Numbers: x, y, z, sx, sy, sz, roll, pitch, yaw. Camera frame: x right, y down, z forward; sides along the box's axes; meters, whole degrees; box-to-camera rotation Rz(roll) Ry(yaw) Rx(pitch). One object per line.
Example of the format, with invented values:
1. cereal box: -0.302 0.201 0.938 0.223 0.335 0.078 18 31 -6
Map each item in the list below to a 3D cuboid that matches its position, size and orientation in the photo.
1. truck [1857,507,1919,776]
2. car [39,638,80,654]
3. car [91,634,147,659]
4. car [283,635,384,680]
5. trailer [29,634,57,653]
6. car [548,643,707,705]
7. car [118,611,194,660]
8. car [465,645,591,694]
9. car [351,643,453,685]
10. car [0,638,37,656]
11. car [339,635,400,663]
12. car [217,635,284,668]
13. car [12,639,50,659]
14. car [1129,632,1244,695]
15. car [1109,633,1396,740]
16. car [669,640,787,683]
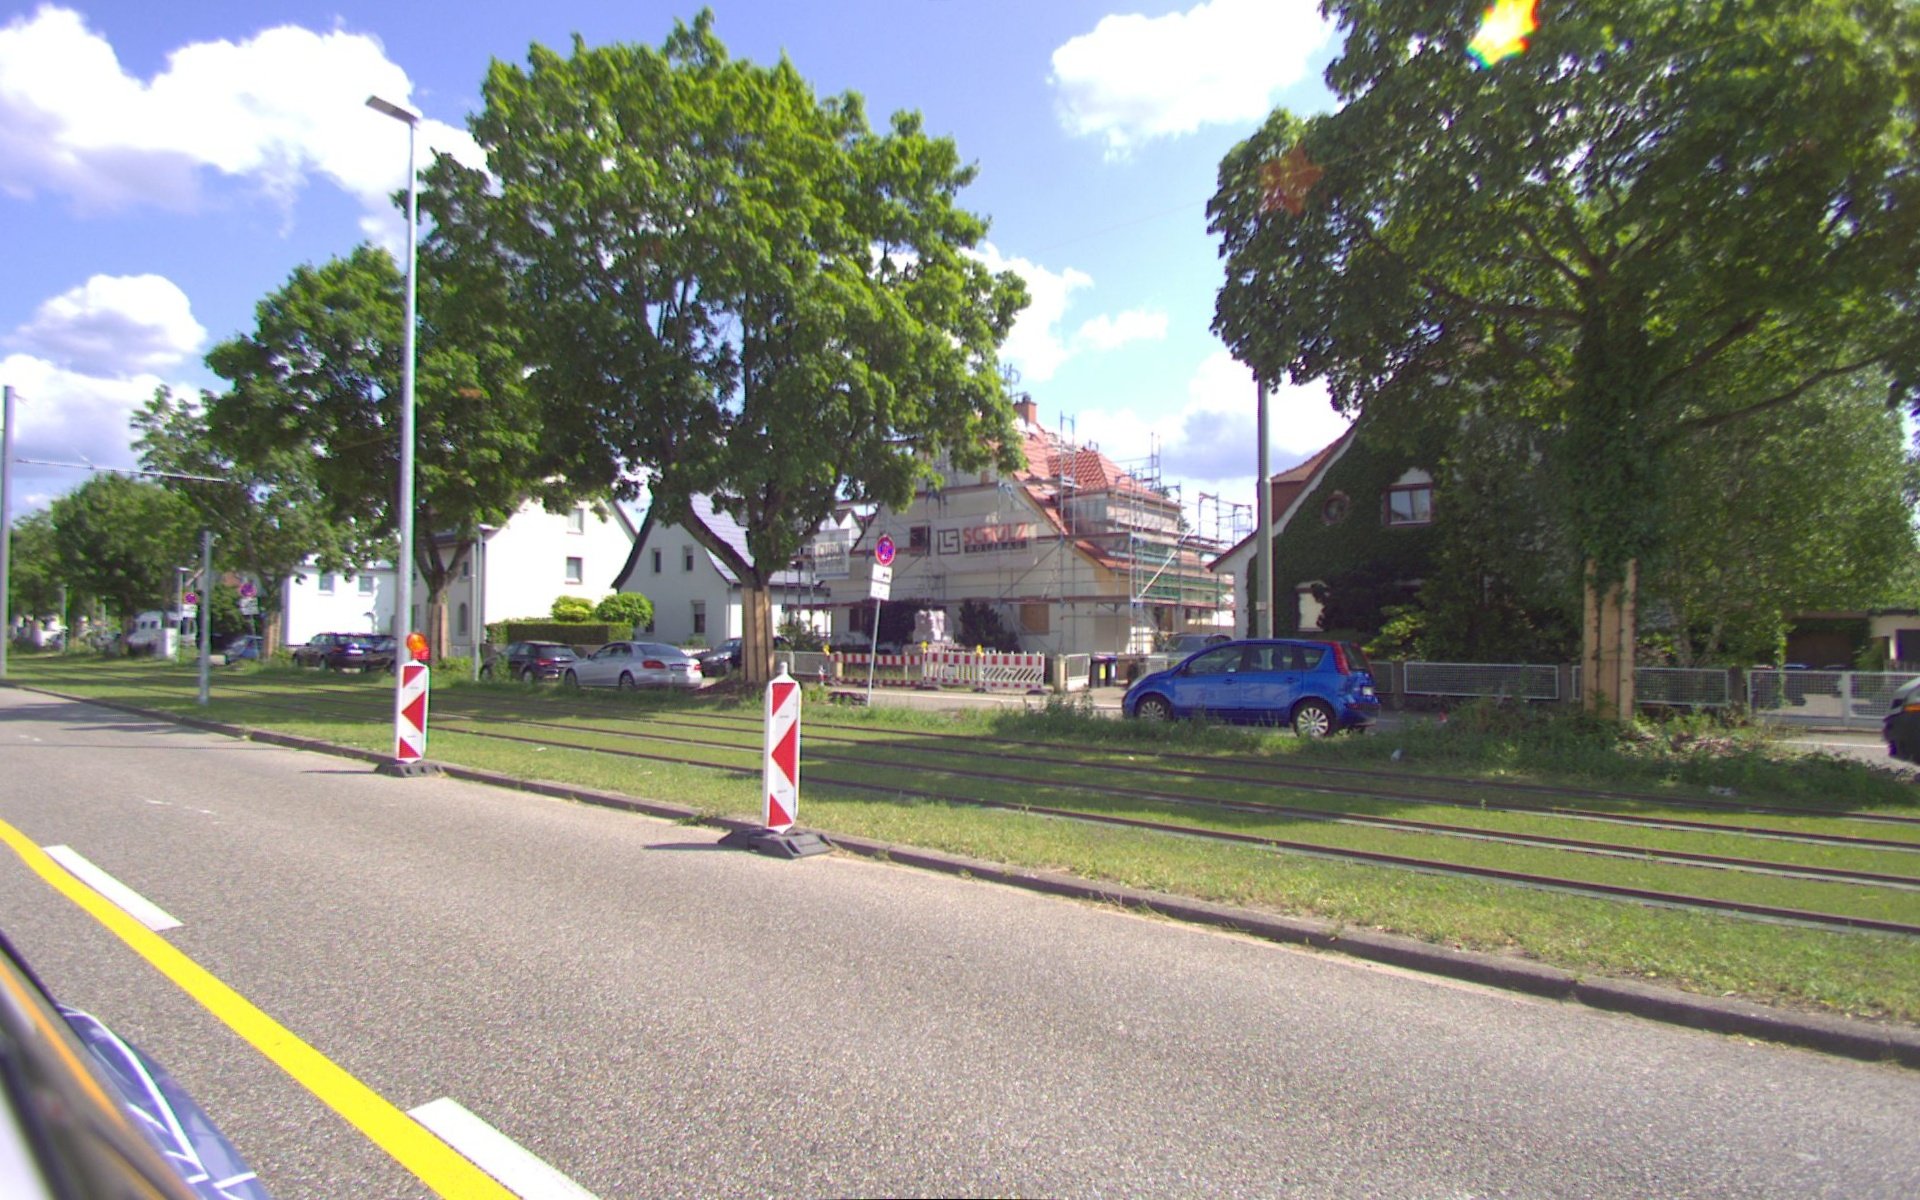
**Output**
1. truck: 12.708 0.416 9.470 6.270 2.789 1.973 -2 -6 40
2. car: -68.956 3.517 77.509 3.833 1.101 1.763 -1 -3 40
3. car: -54.092 3.005 65.085 4.483 1.517 1.973 -1 -3 40
4. car: -25.714 2.338 41.500 4.384 1.704 1.975 -1 -3 37
5. trailer: -73.263 3.466 80.875 2.280 1.530 1.286 -1 -4 40
6. car: -9.167 1.974 27.663 4.935 1.494 1.786 -1 -3 40
7. car: -47.026 2.098 59.137 6.453 2.751 1.974 -2 -4 38
8. car: -13.258 2.119 31.000 3.849 1.328 1.973 -1 -5 40
9. car: -20.847 2.370 37.770 3.996 1.450 1.973 -1 -4 40
10. car: -84.851 4.231 91.161 4.319 1.551 1.973 -1 -3 41
11. car: -35.287 2.908 60.465 3.997 1.589 1.883 -1 -3 40
12. car: -33.579 2.408 47.874 3.888 1.447 1.735 -1 -3 42
13. car: -80.648 4.280 87.850 4.098 1.590 1.886 -3 -8 41
14. car: 6.684 1.835 29.634 1.871 1.697 3.611 -1 -3 39
15. car: 4.621 1.293 16.211 3.994 1.464 1.974 -1 -3 38
16. car: -8.715 2.279 38.238 1.980 1.412 3.947 -1 -1 39
